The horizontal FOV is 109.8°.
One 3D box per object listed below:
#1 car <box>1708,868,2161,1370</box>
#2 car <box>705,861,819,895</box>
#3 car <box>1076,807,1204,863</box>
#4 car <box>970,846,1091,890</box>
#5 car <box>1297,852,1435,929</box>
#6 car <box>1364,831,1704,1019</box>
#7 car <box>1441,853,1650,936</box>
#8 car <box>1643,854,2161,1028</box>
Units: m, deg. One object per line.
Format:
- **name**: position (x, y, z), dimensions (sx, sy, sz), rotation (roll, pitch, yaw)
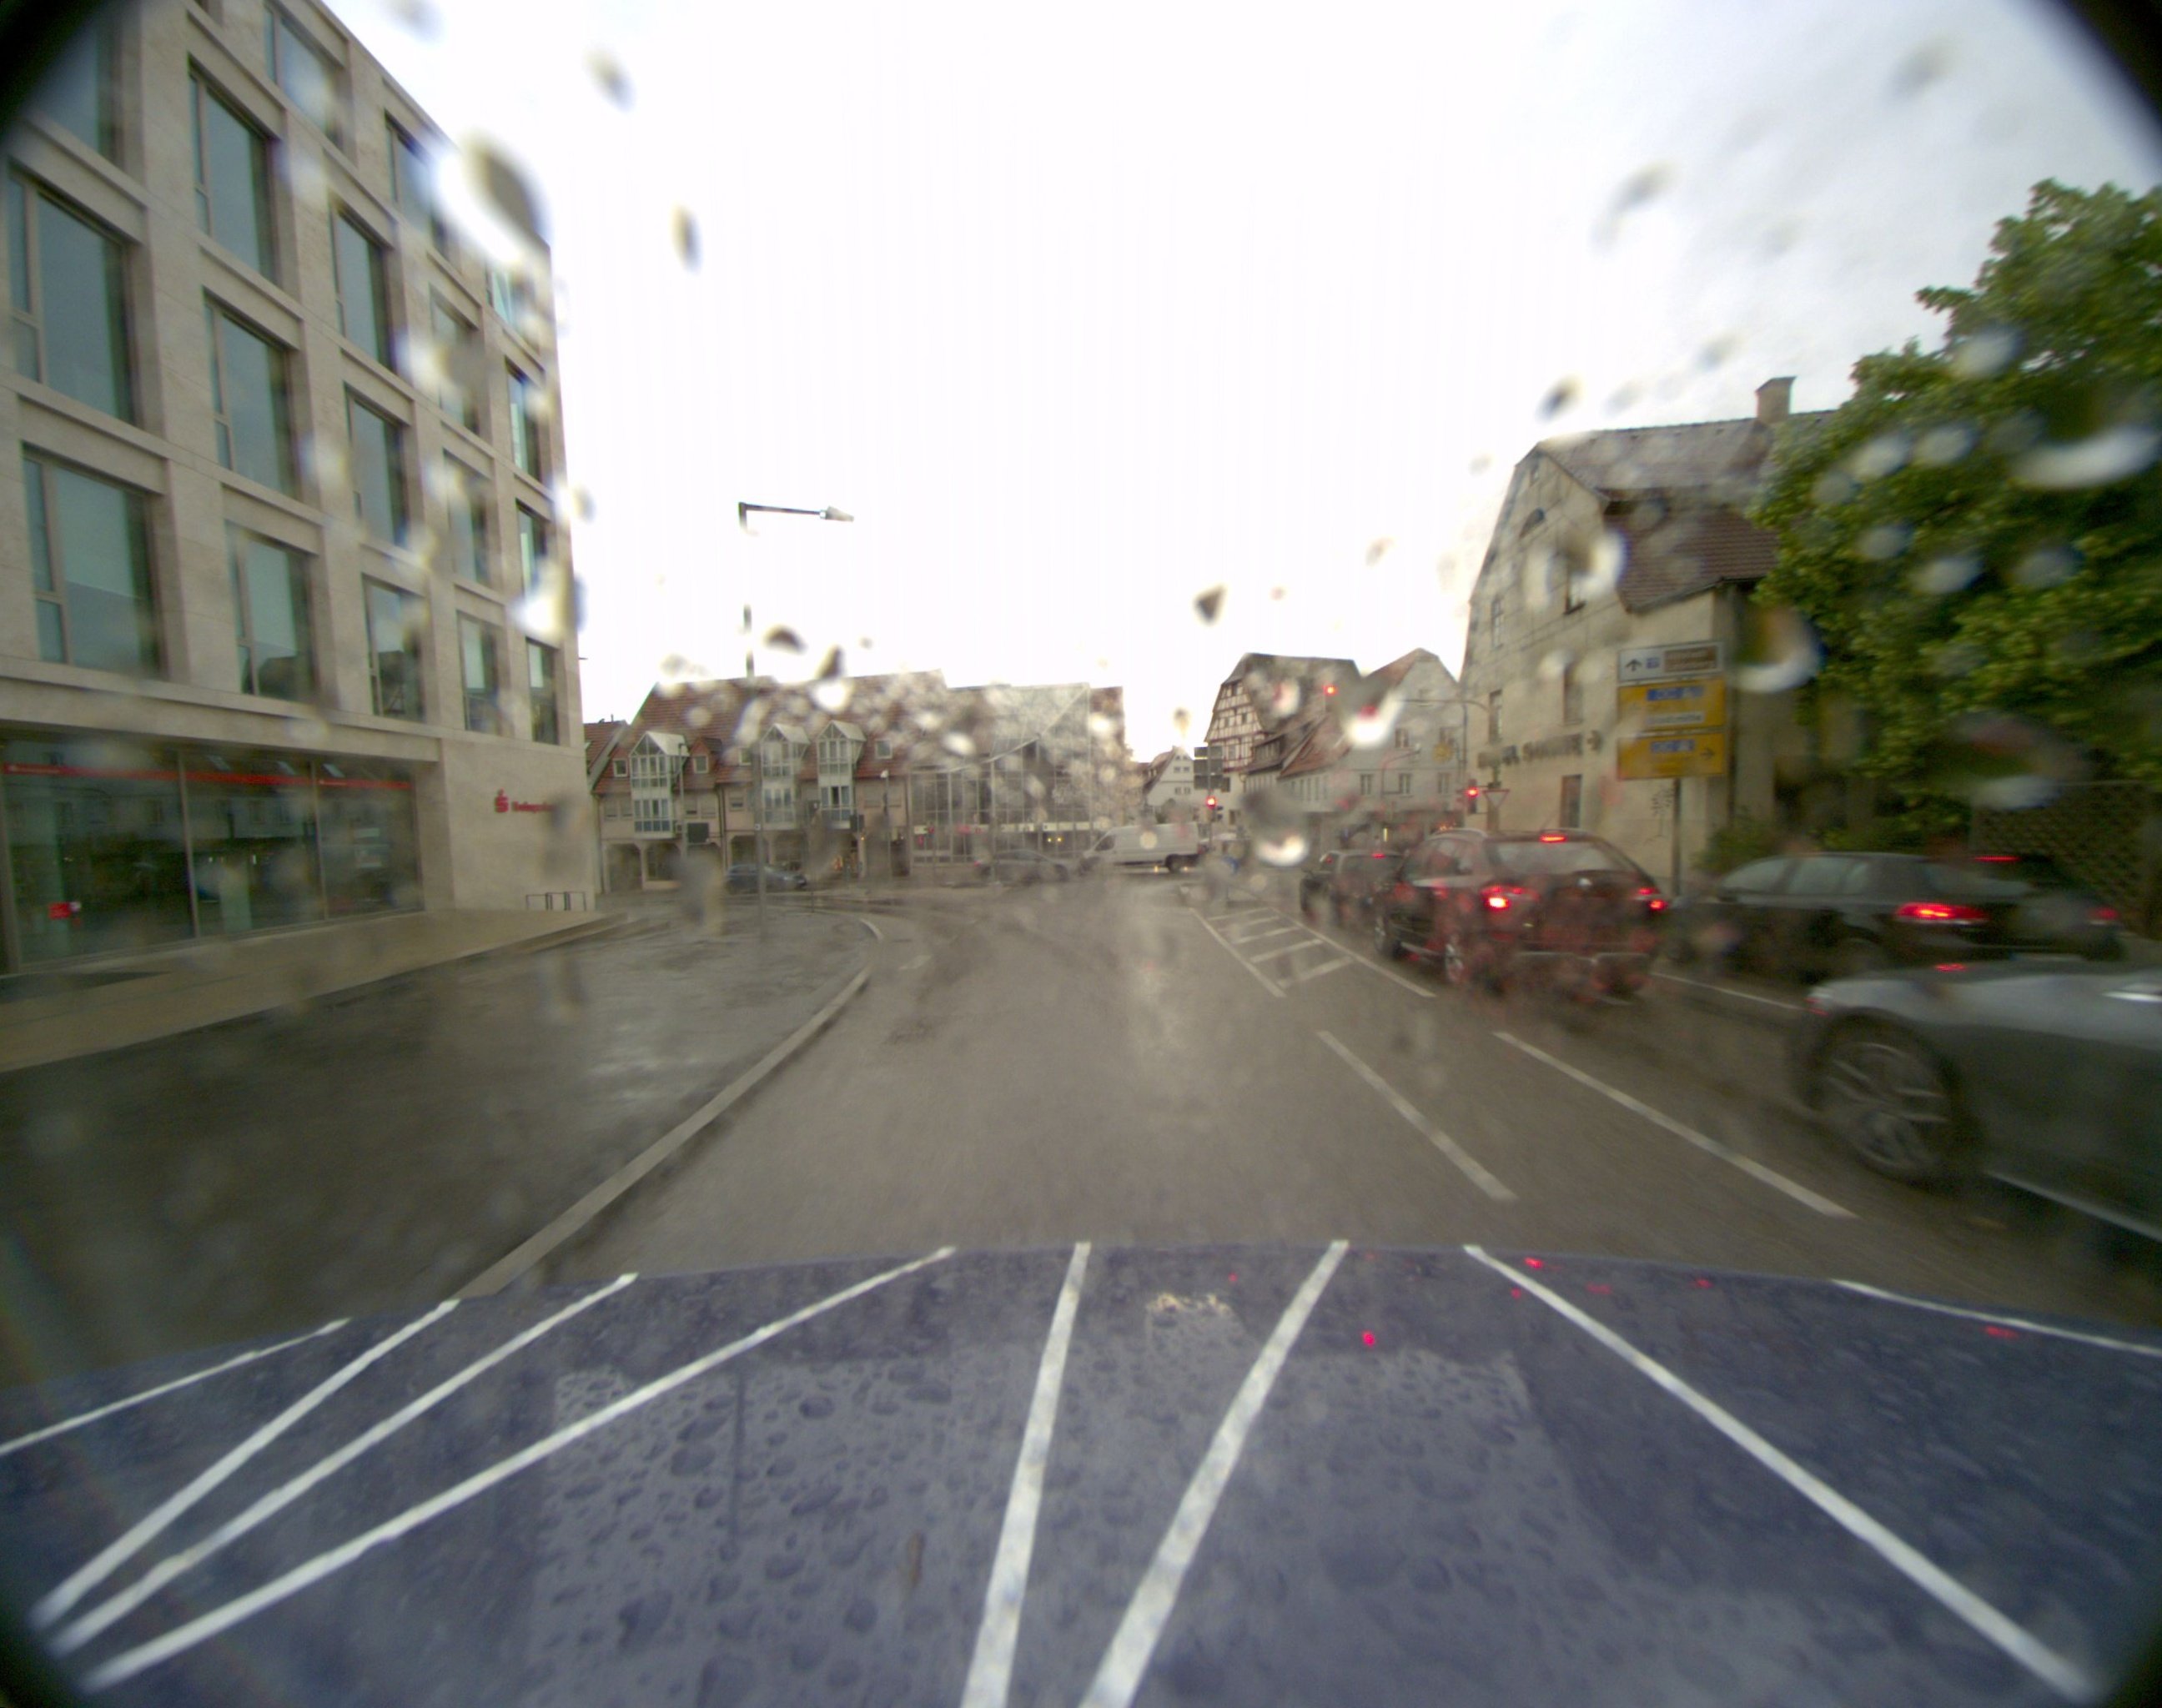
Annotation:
- **car**: position (4.187, 0.844, 1.621), dimensions (1.945, 1.432, 5.017), rotation (-1, 1, 6)
- **car**: position (-15.992, 1.203, 38.142), dimensions (5.023, 1.537, 2.002), rotation (-1, 1, 15)
- **car**: position (3.145, -0.975, 39.914), dimensions (6.504, 2.673, 2.001), rotation (-1, 1, 9)
- **car**: position (-2.246, 0.635, 34.413), dimensions (5.024, 1.834, 2.002), rotation (-1, 1, 12)
- **car**: position (5.806, 0.672, 15.938), dimensions (1.817, 1.356, 3.749), rotation (-1, 1, 6)
- **car**: position (4.799, 0.621, 8.867), dimensions (1.852, 1.654, 4.221), rotation (-1, 1, 7)
- **car**: position (8.485, 0.660, 14.356), dimensions (1.852, 1.286, 4.034), rotation (-1, 1, 7)
- **car**: position (8.284, 0.720, 8.197), dimensions (1.741, 1.346, 4.061), rotation (-1, 1, 6)
